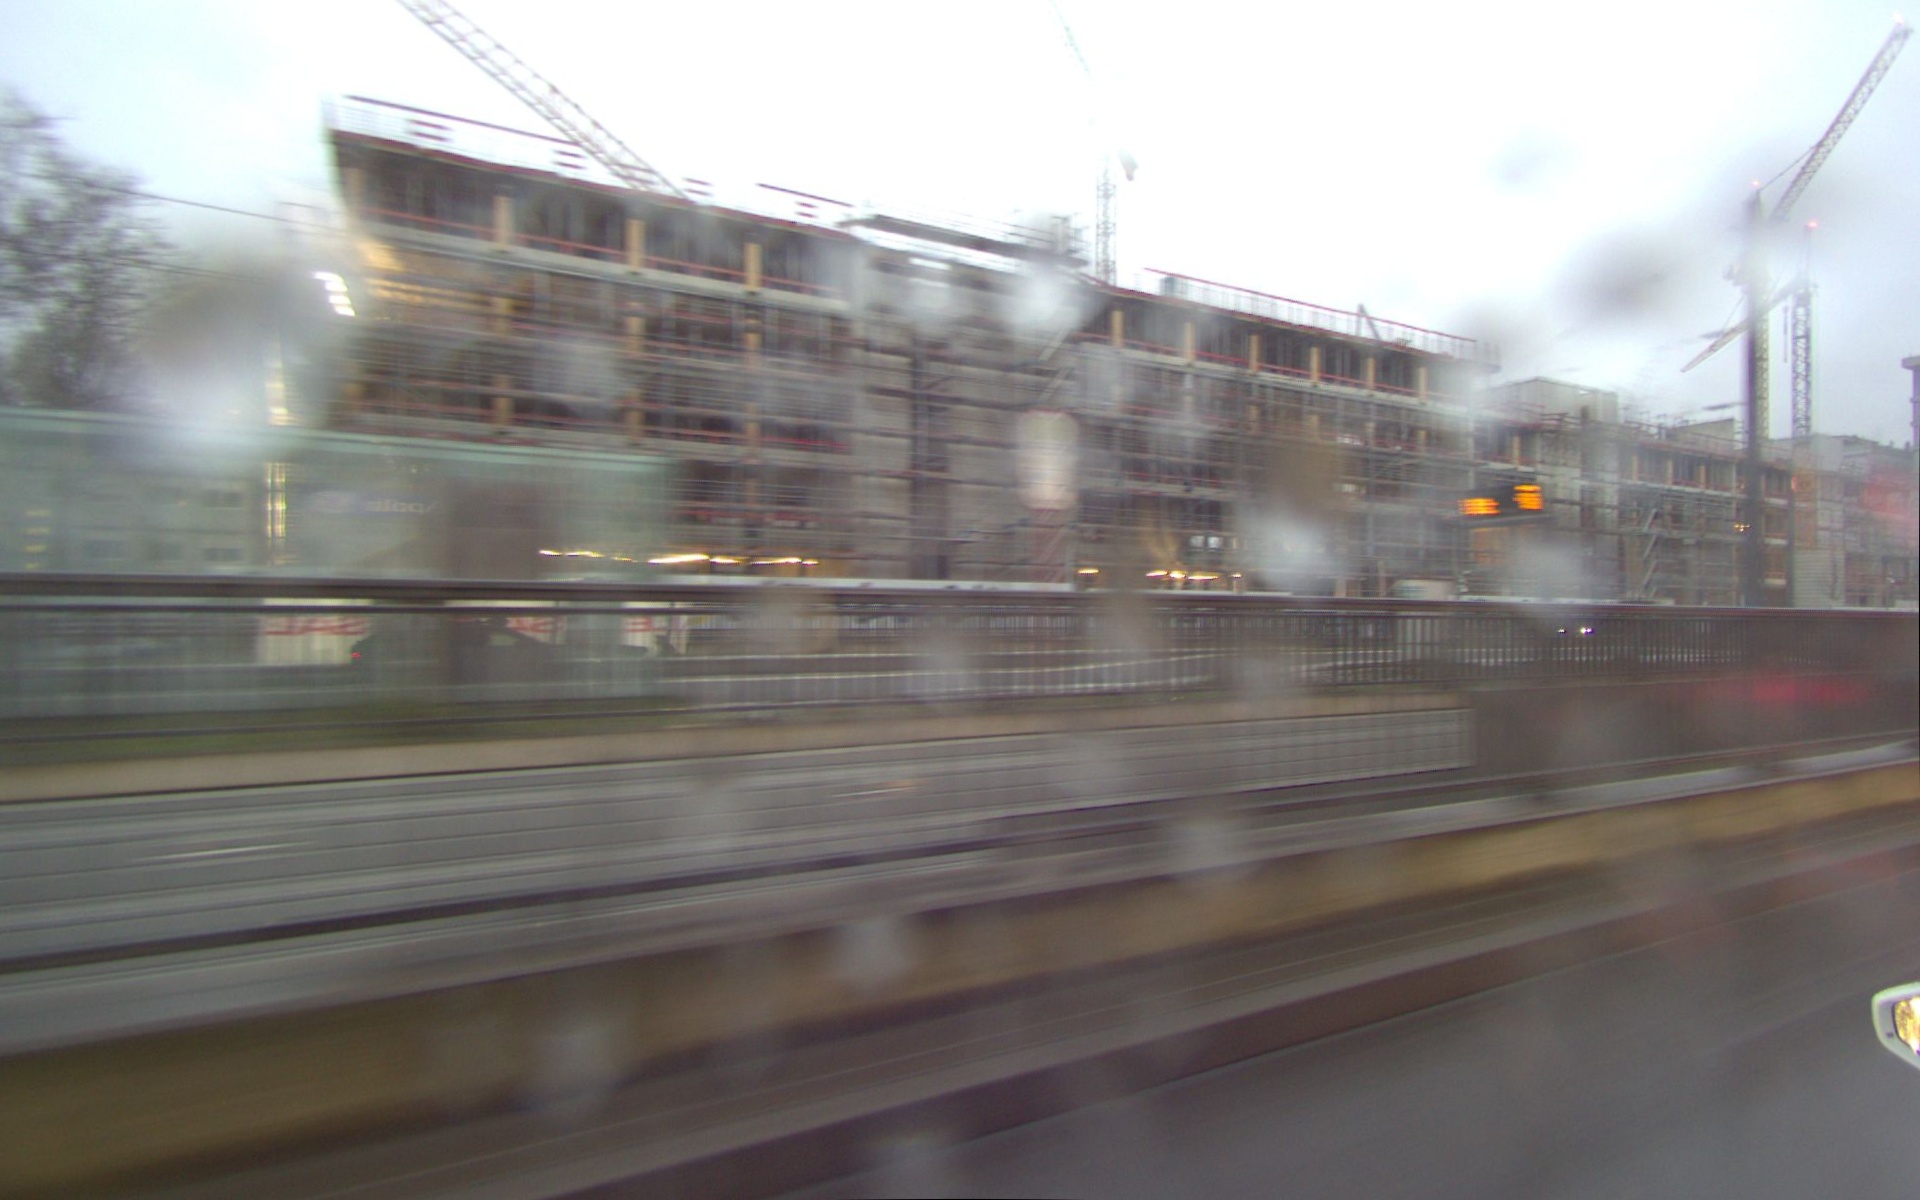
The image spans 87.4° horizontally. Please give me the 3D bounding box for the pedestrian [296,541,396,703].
[{"bbox_3d":[-6.185,0.218,10.148,0.728,1.571,0.583,1,0,-18],"label":"pedestrian"}]

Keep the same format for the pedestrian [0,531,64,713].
[{"bbox_3d":[-8.519,0.187,8.864,0.728,1.571,0.583,1,0,-18],"label":"pedestrian"}]

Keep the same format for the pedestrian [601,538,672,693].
[{"bbox_3d":[-3.696,0.175,11.497,0.728,1.724,0.583,1,0,-18],"label":"pedestrian"}]
